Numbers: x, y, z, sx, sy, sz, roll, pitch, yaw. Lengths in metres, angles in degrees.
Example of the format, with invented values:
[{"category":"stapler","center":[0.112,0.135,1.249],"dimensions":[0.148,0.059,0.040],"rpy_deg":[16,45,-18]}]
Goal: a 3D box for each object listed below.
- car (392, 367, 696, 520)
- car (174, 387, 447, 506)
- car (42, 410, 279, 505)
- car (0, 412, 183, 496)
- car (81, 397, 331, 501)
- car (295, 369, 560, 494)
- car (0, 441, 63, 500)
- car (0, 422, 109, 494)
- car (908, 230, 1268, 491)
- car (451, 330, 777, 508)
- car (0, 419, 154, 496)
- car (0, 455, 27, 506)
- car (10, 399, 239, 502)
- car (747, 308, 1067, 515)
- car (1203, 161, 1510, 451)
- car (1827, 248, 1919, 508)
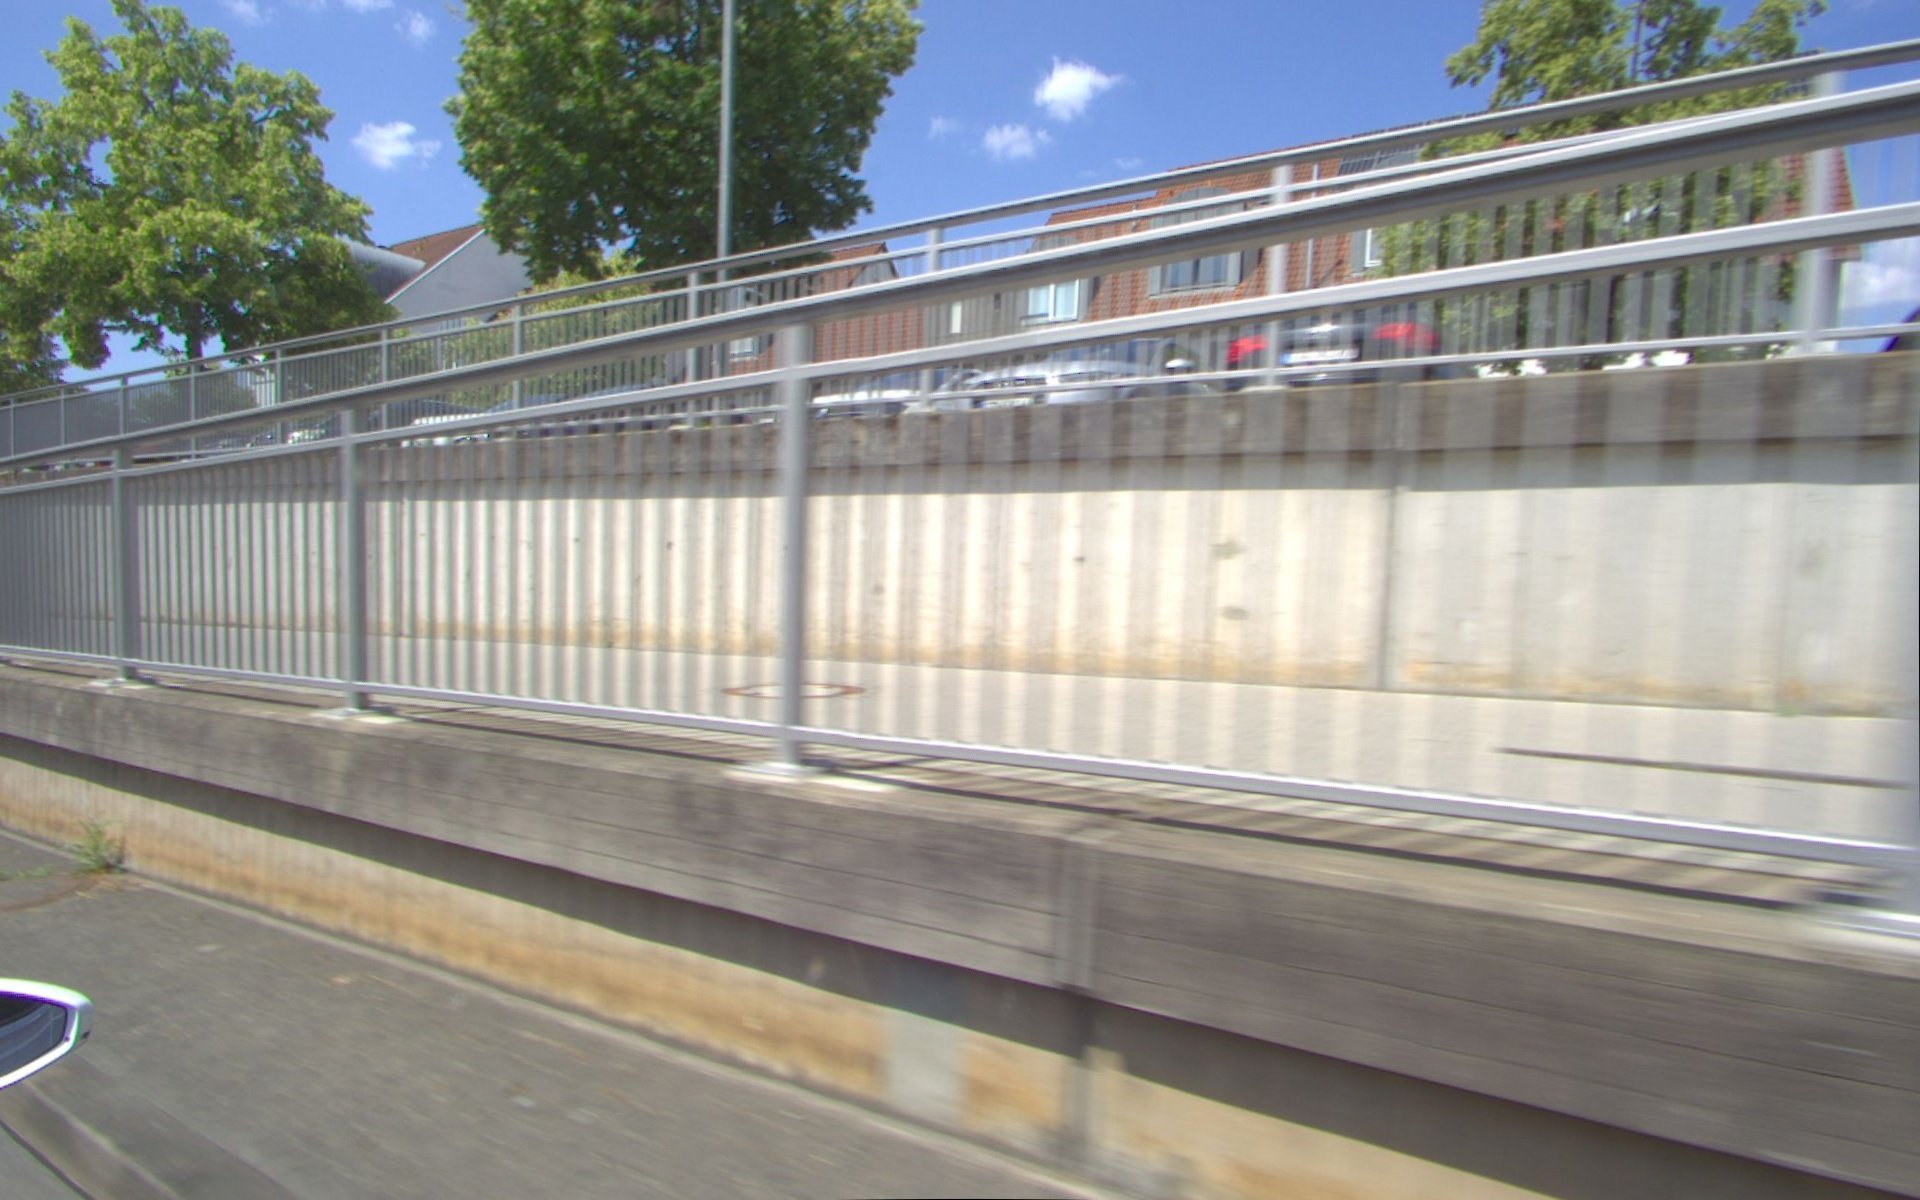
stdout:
[{"category":"car","center":[-6.120,-2.202,15.146],"dimensions":[1.701,1.576,3.976],"rpy_deg":[0,-1,35]},{"category":"car","center":[-12.049,-2.761,18.812],"dimensions":[1.746,1.505,3.976],"rpy_deg":[0,-1,35]},{"category":"car","center":[-18.316,-3.185,23.105],"dimensions":[1.746,1.505,3.976],"rpy_deg":[0,-1,35]},{"category":"car","center":[-22.431,-3.659,25.426],"dimensions":[1.746,1.505,3.976],"rpy_deg":[0,-1,35]},{"category":"car","center":[-16.080,-3.137,21.532],"dimensions":[1.746,1.505,3.976],"rpy_deg":[0,-1,35]},{"category":"car","center":[-9.661,-2.963,18.446],"dimensions":[1.746,1.505,3.976],"rpy_deg":[0,-1,35]},{"category":"car","center":[-30.085,-4.059,30.413],"dimensions":[1.746,1.505,3.976],"rpy_deg":[0,-1,35]},{"category":"car","center":[-26.578,-4.025,27.996],"dimensions":[1.746,1.587,3.976],"rpy_deg":[0,-1,35]},{"category":"car","center":[1.412,-1.983,9.457],"dimensions":[1.701,1.447,3.976],"rpy_deg":[3,1,35]},{"category":"car","center":[-4.506,-2.263,13.575],"dimensions":[1.701,1.576,3.976],"rpy_deg":[0,-1,35]},{"category":"car","center":[-24.361,-3.798,26.864],"dimensions":[1.746,1.505,3.976],"rpy_deg":[0,-1,35]},{"category":"car","center":[-33.091,-4.053,32.424],"dimensions":[1.746,1.505,3.976],"rpy_deg":[0,-1,35]},{"category":"car","center":[-20.152,-3.518,24.310],"dimensions":[1.746,1.793,3.976],"rpy_deg":[0,-1,35]},{"category":"car","center":[-0.438,-1.996,11.792],"dimensions":[1.701,1.576,3.976],"rpy_deg":[0,-1,35]},{"category":"car","center":[3.614,-2.231,8.674],"dimensions":[1.747,1.325,3.977],"rpy_deg":[1,2,33]},{"category":"car","center":[7.475,-1.677,6.366],"dimensions":[1.832,1.650,3.990],"rpy_deg":[0,-2,23]}]
